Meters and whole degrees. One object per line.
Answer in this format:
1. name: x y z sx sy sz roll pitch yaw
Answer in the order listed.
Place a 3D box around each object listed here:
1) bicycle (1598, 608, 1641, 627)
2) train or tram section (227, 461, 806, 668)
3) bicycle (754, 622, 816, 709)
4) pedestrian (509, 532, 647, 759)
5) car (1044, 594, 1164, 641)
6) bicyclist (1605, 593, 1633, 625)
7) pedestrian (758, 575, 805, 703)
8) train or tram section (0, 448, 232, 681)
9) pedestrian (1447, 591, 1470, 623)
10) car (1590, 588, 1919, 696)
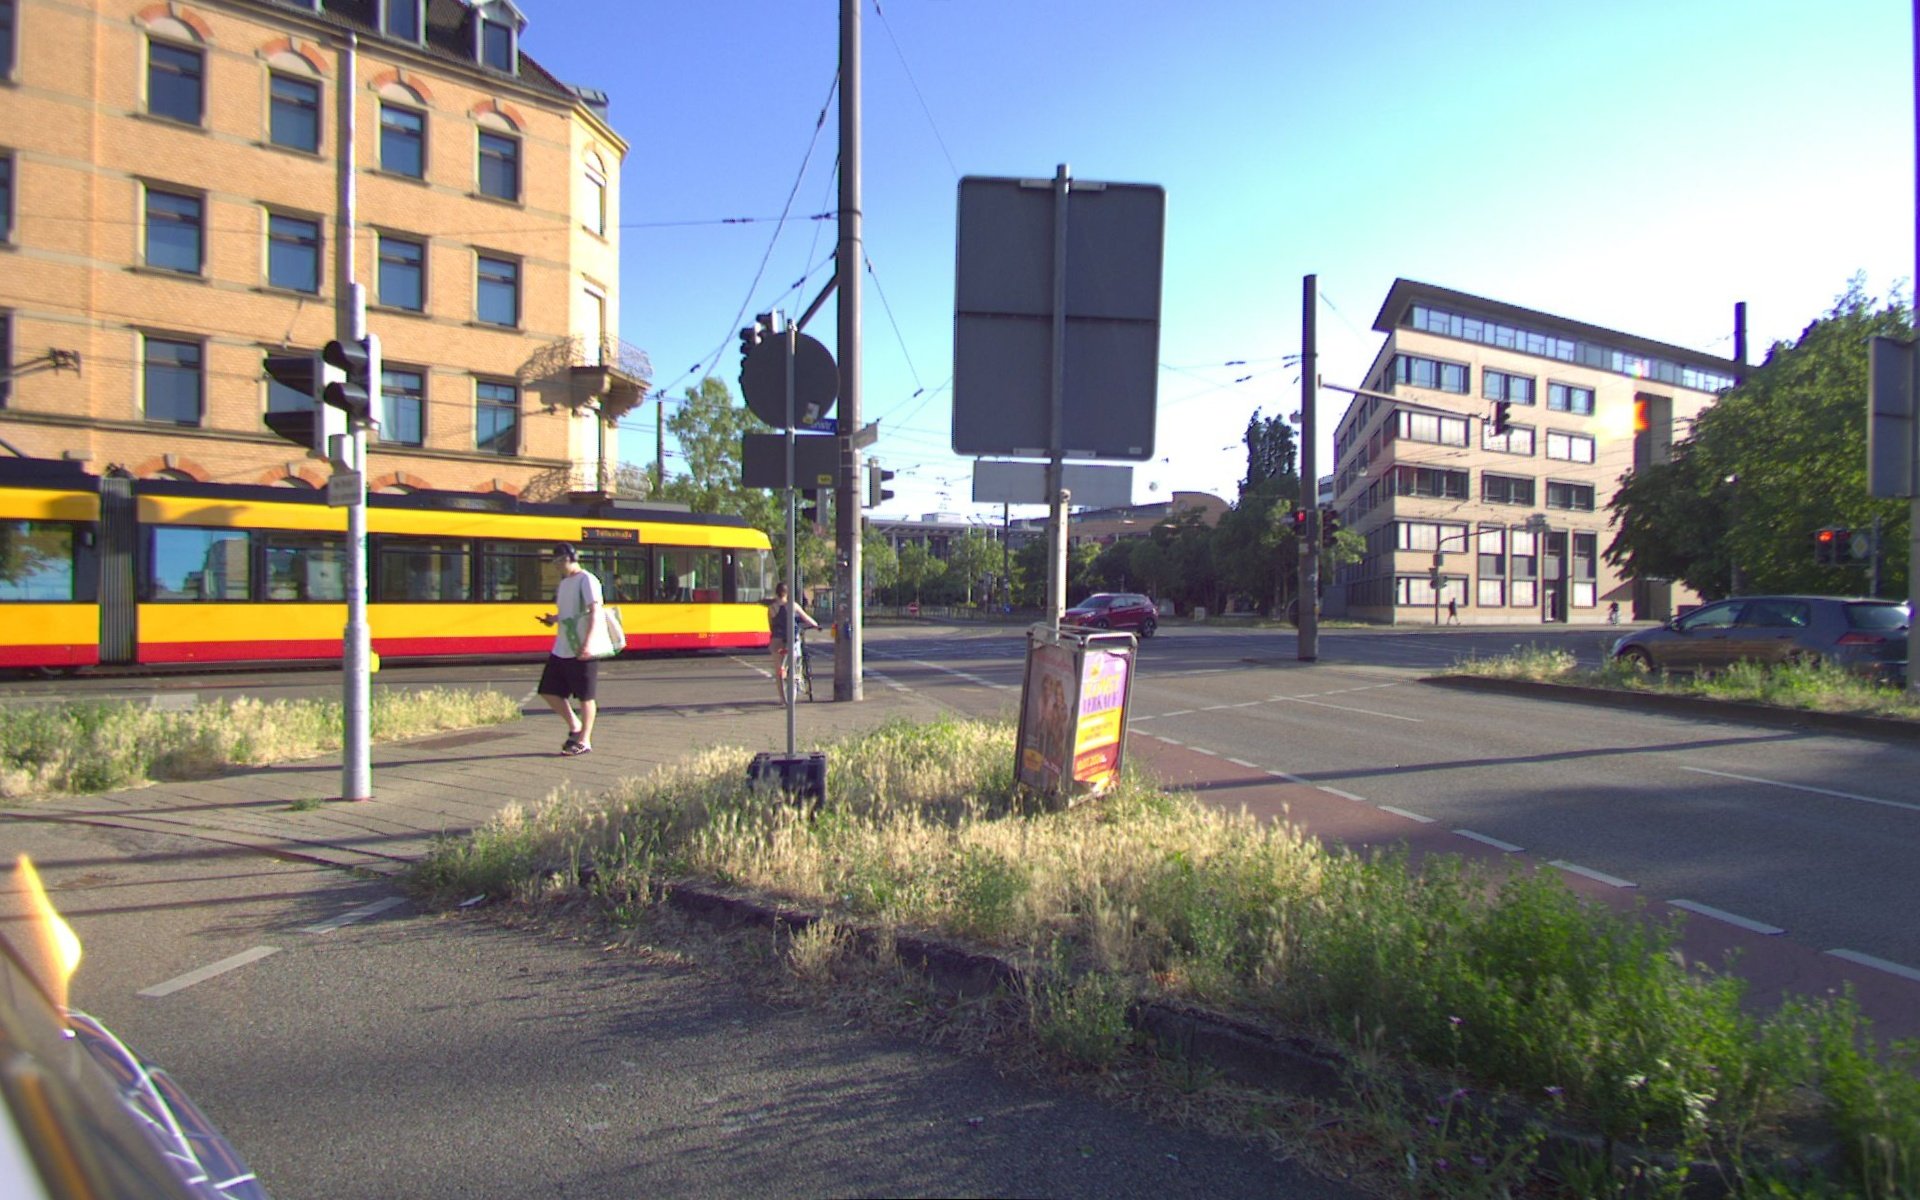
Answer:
1. bicycle: 42.398 1.108 65.049 2.778 1.144 1.016 0 0 -25
2. train or tram section: -8.906 -0.554 21.887 11.116 3.534 2.875 1 -1 -39
3. bicycle: -2.249 0.811 13.154 0.394 1.037 1.669 0 -1 5
4. pedestrian: -3.264 0.365 8.637 0.815 1.802 0.912 1 -1 -42
5. car: 5.352 0.635 37.402 4.392 1.627 1.825 1 -1 -37
6. bicyclist: 42.334 0.548 65.016 1.229 2.029 0.998 0 0 -25
7. pedestrian: -2.327 0.498 13.234 0.483 1.644 0.525 0 -1 5
8. train or tram section: -15.279 -0.528 16.640 5.218 3.534 2.875 1 -1 -39
9. pedestrian: 31.770 0.430 64.538 0.972 2.029 0.933 0 0 -28
10. car: 11.518 0.532 14.525 1.696 1.306 4.259 0 0 -12
